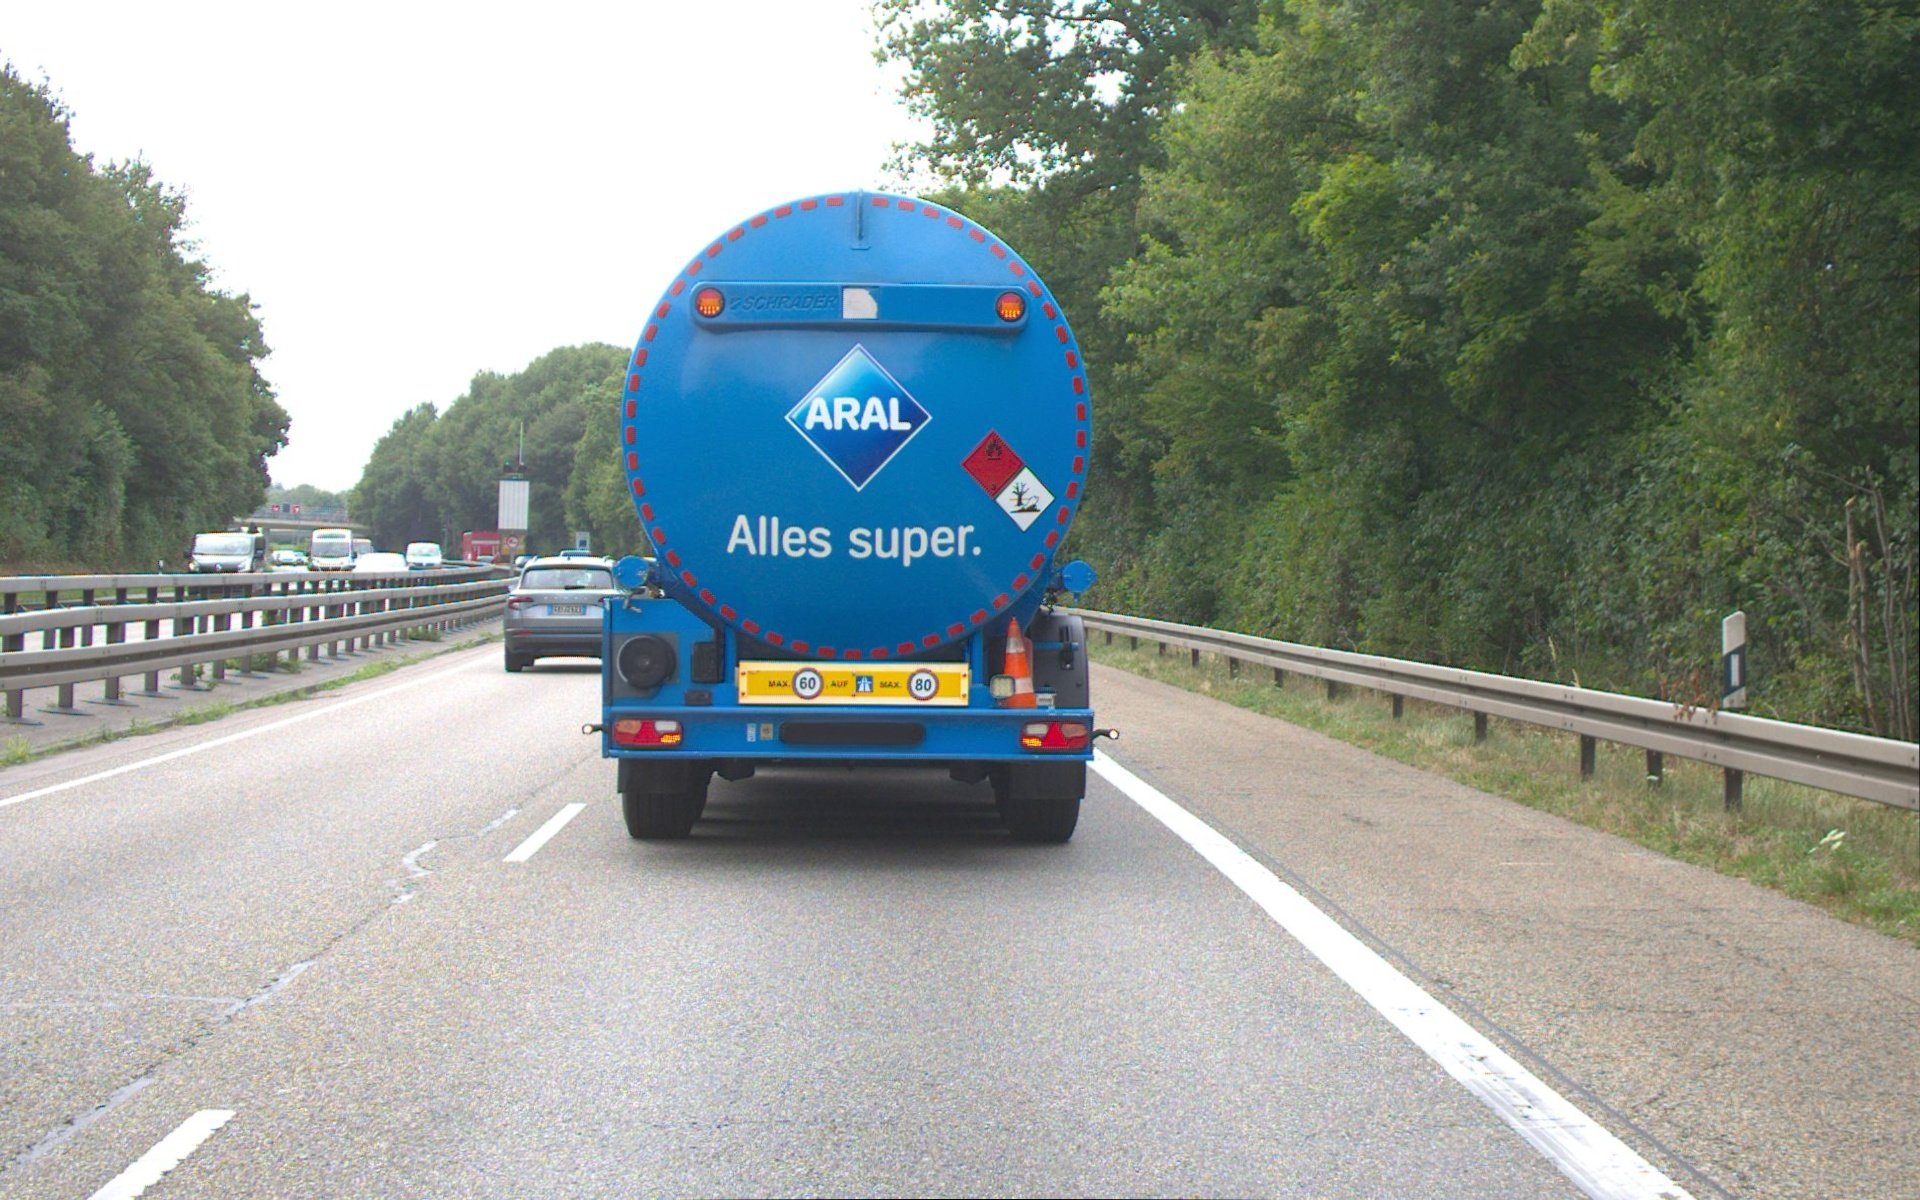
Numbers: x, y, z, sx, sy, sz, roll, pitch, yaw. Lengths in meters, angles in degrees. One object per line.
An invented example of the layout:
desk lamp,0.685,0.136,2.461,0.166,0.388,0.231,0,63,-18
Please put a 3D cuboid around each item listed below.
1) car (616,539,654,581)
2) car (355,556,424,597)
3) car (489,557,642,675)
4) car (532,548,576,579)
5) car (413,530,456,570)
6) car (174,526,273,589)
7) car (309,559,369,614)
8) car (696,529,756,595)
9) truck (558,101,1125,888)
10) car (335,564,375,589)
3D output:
car,-17.488,-2.145,185.153,1.993,2.237,4.001,0,0,-5
car,-18.616,-0.761,112.247,1.655,1.274,4.713,1,0,-3
car,-5.567,0.213,48.888,1.826,1.604,4.168,0,0,-2
car,-21.115,-1.883,178.751,1.993,1.547,4.001,0,0,-11
car,-26.899,-2.538,176.014,1.821,1.976,5.058,0,0,-5
car,-21.557,-1.214,100.763,2.035,1.798,5.124,0,0,-3
car,-29.821,-0.660,165.156,2.311,2.602,5.554,0,0,-5
car,-8.106,-1.303,119.418,1.993,2.237,4.000,0,0,-3
truck,-0.639,-0.550,20.641,2.755,3.833,7.689,0,1,-1
car,-32.865,-1.275,186.870,1.774,1.292,4.108,0,0,-5
